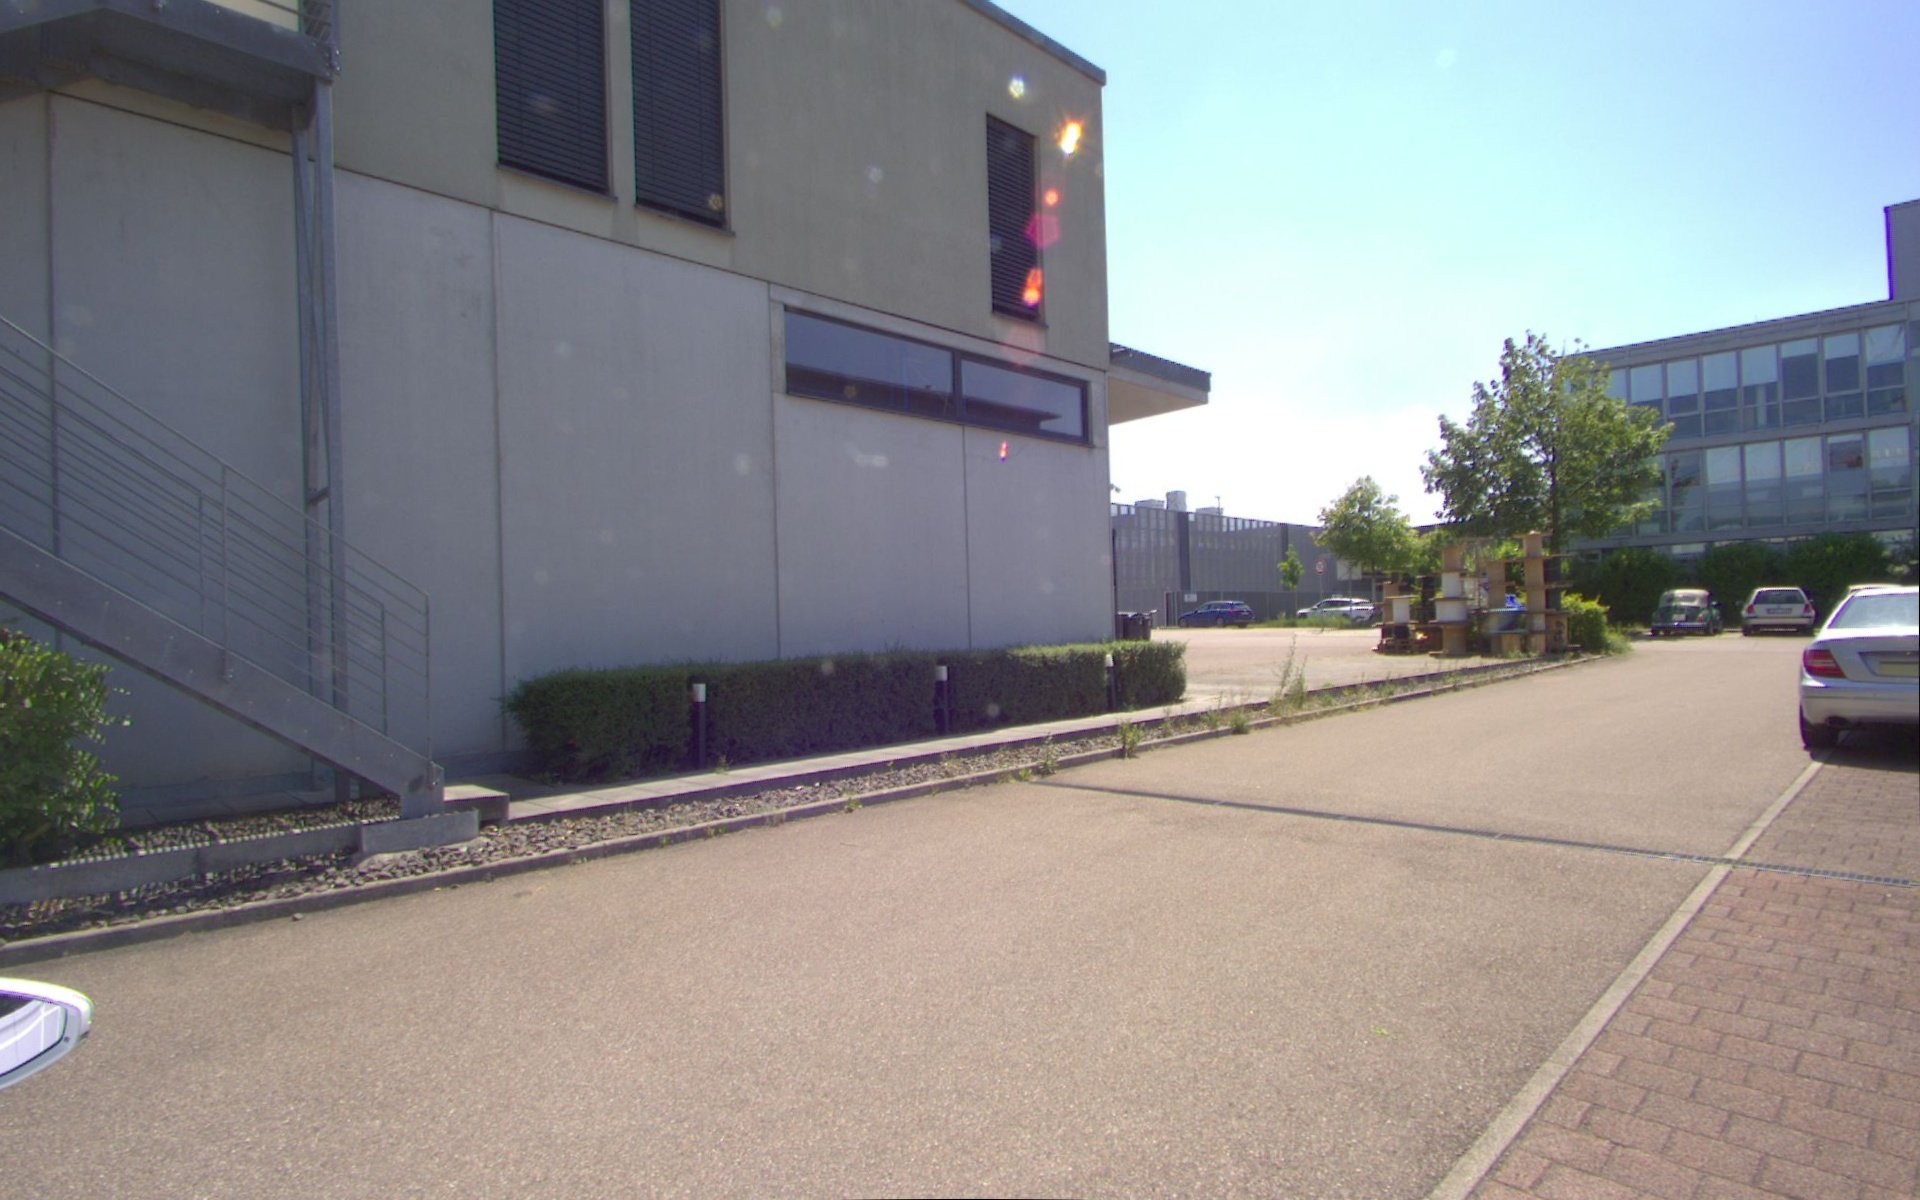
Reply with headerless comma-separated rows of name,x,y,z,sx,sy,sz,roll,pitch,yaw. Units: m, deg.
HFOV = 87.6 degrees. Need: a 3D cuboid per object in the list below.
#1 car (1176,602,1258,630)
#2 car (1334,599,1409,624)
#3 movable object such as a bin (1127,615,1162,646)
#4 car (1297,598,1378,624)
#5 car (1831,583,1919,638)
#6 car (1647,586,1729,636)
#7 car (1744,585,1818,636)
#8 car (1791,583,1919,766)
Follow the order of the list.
car,13.950,0.888,54.611,1.725,1.433,4.426,1,-2,-30
car,24.987,0.721,60.918,1.725,1.433,4.044,1,-2,-31
movable object such as a bin,6.144,1.013,33.357,0.802,0.993,0.809,0,-1,-45
car,22.327,0.679,59.400,1.725,1.433,4.424,1,-2,-31
car,27.396,0.334,30.016,1.728,1.538,3.972,-1,-1,38
car,23.785,0.369,32.663,1.731,1.538,3.966,-2,-1,42
car,25.472,0.348,31.159,1.654,1.459,3.972,-1,-1,38
car,8.993,0.604,9.170,3.680,1.455,1.713,0,-1,-44
